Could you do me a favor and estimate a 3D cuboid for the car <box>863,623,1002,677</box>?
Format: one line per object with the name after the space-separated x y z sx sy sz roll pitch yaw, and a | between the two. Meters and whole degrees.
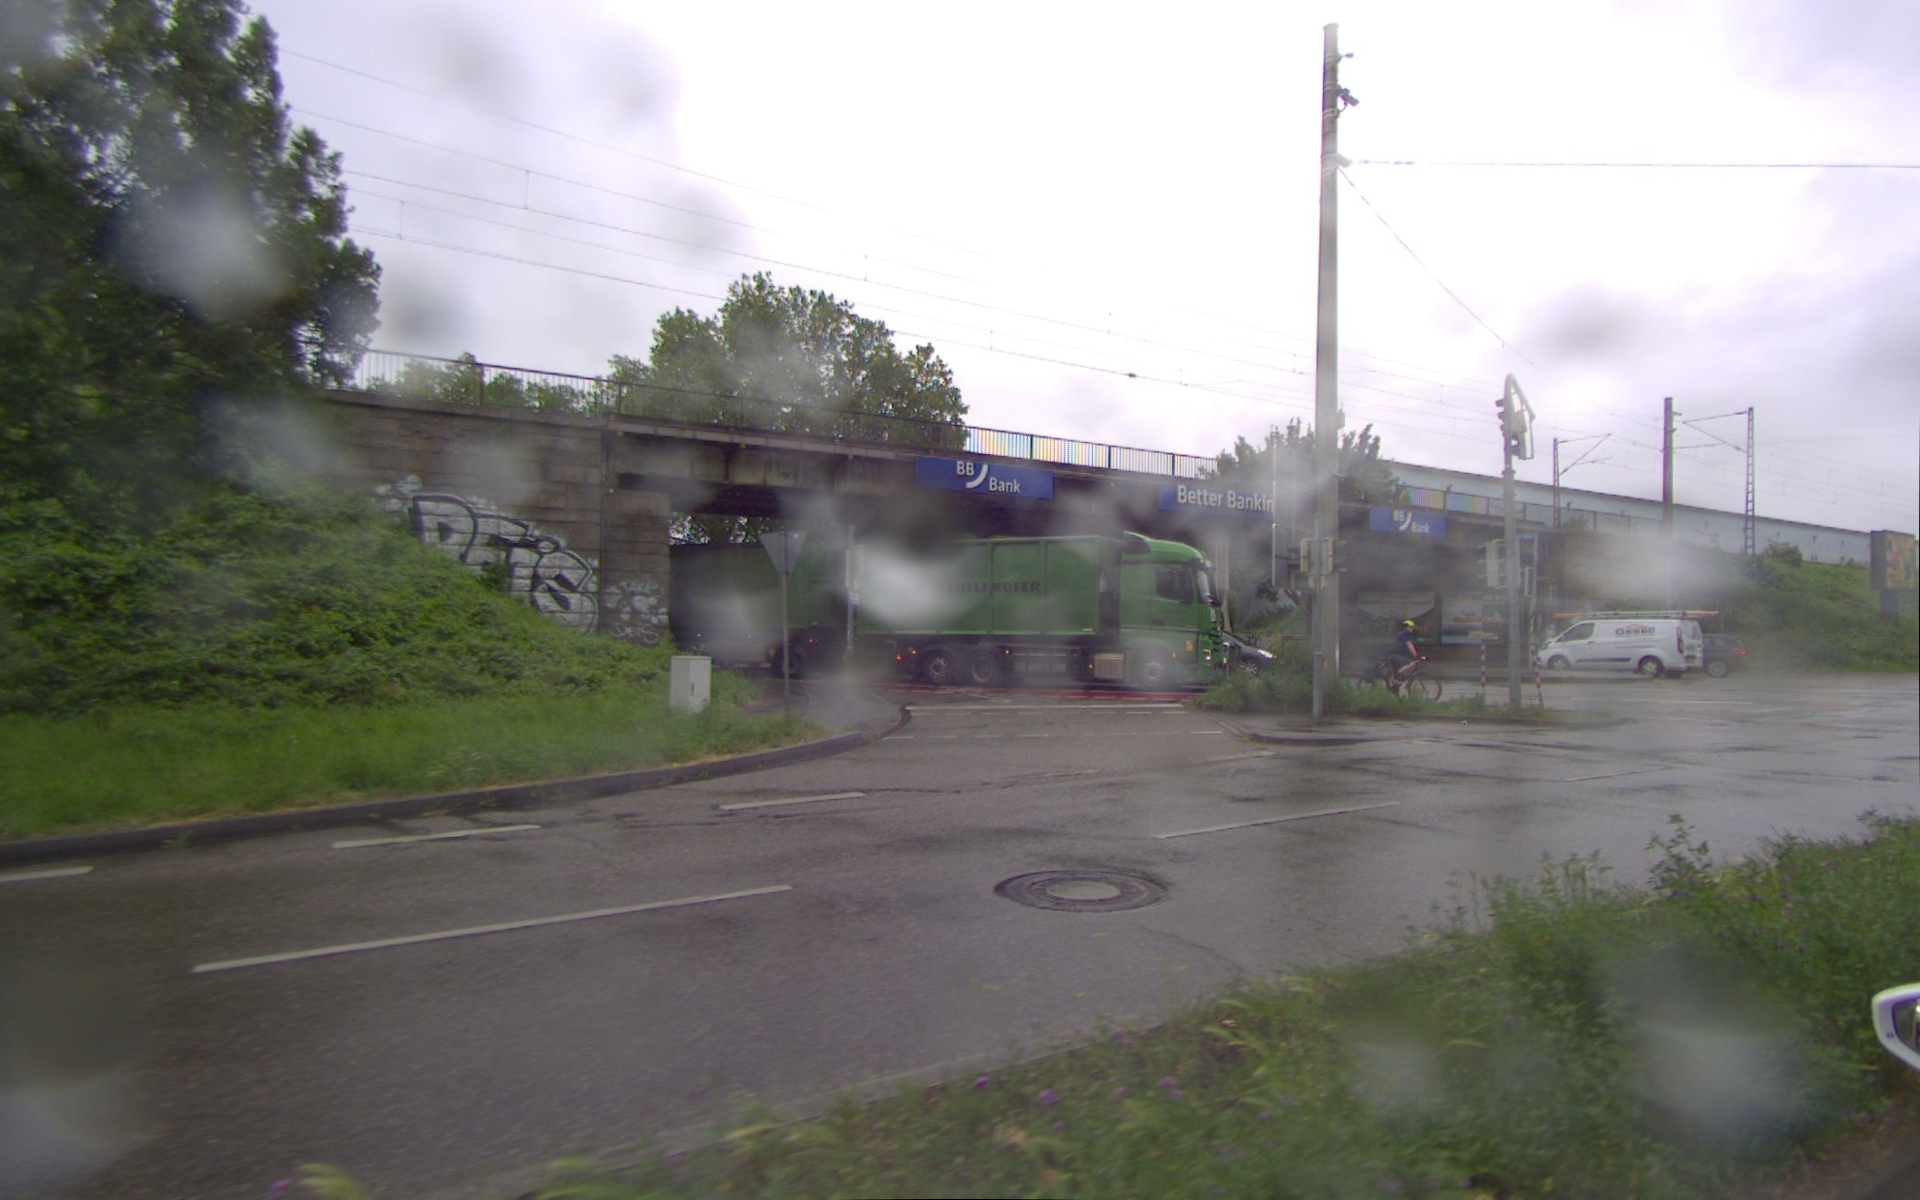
-0.860 1.543 31.761 3.923 1.594 1.999 0 -2 23 | car

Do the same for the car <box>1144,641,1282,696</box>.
7.750 2.045 30.748 3.922 1.566 1.660 0 -2 21 | car

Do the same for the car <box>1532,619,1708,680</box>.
22.961 1.690 35.143 1.979 1.981 4.775 1 -2 -34 | car

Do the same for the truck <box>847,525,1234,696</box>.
2.010 0.312 26.858 10.000 4.001 2.686 0 -2 24 | truck

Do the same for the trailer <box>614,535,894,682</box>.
-6.346 0.273 30.626 8.358 4.039 2.688 0 -2 24 | trailer

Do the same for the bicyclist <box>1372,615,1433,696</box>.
9.231 1.136 20.958 1.029 1.614 0.803 2 -1 31 | bicyclist

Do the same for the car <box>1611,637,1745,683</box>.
27.443 2.242 38.466 1.987 1.640 3.893 2 -2 -44 | car

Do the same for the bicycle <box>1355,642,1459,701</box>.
9.300 1.459 20.913 1.880 1.109 0.693 1 0 32 | bicycle
